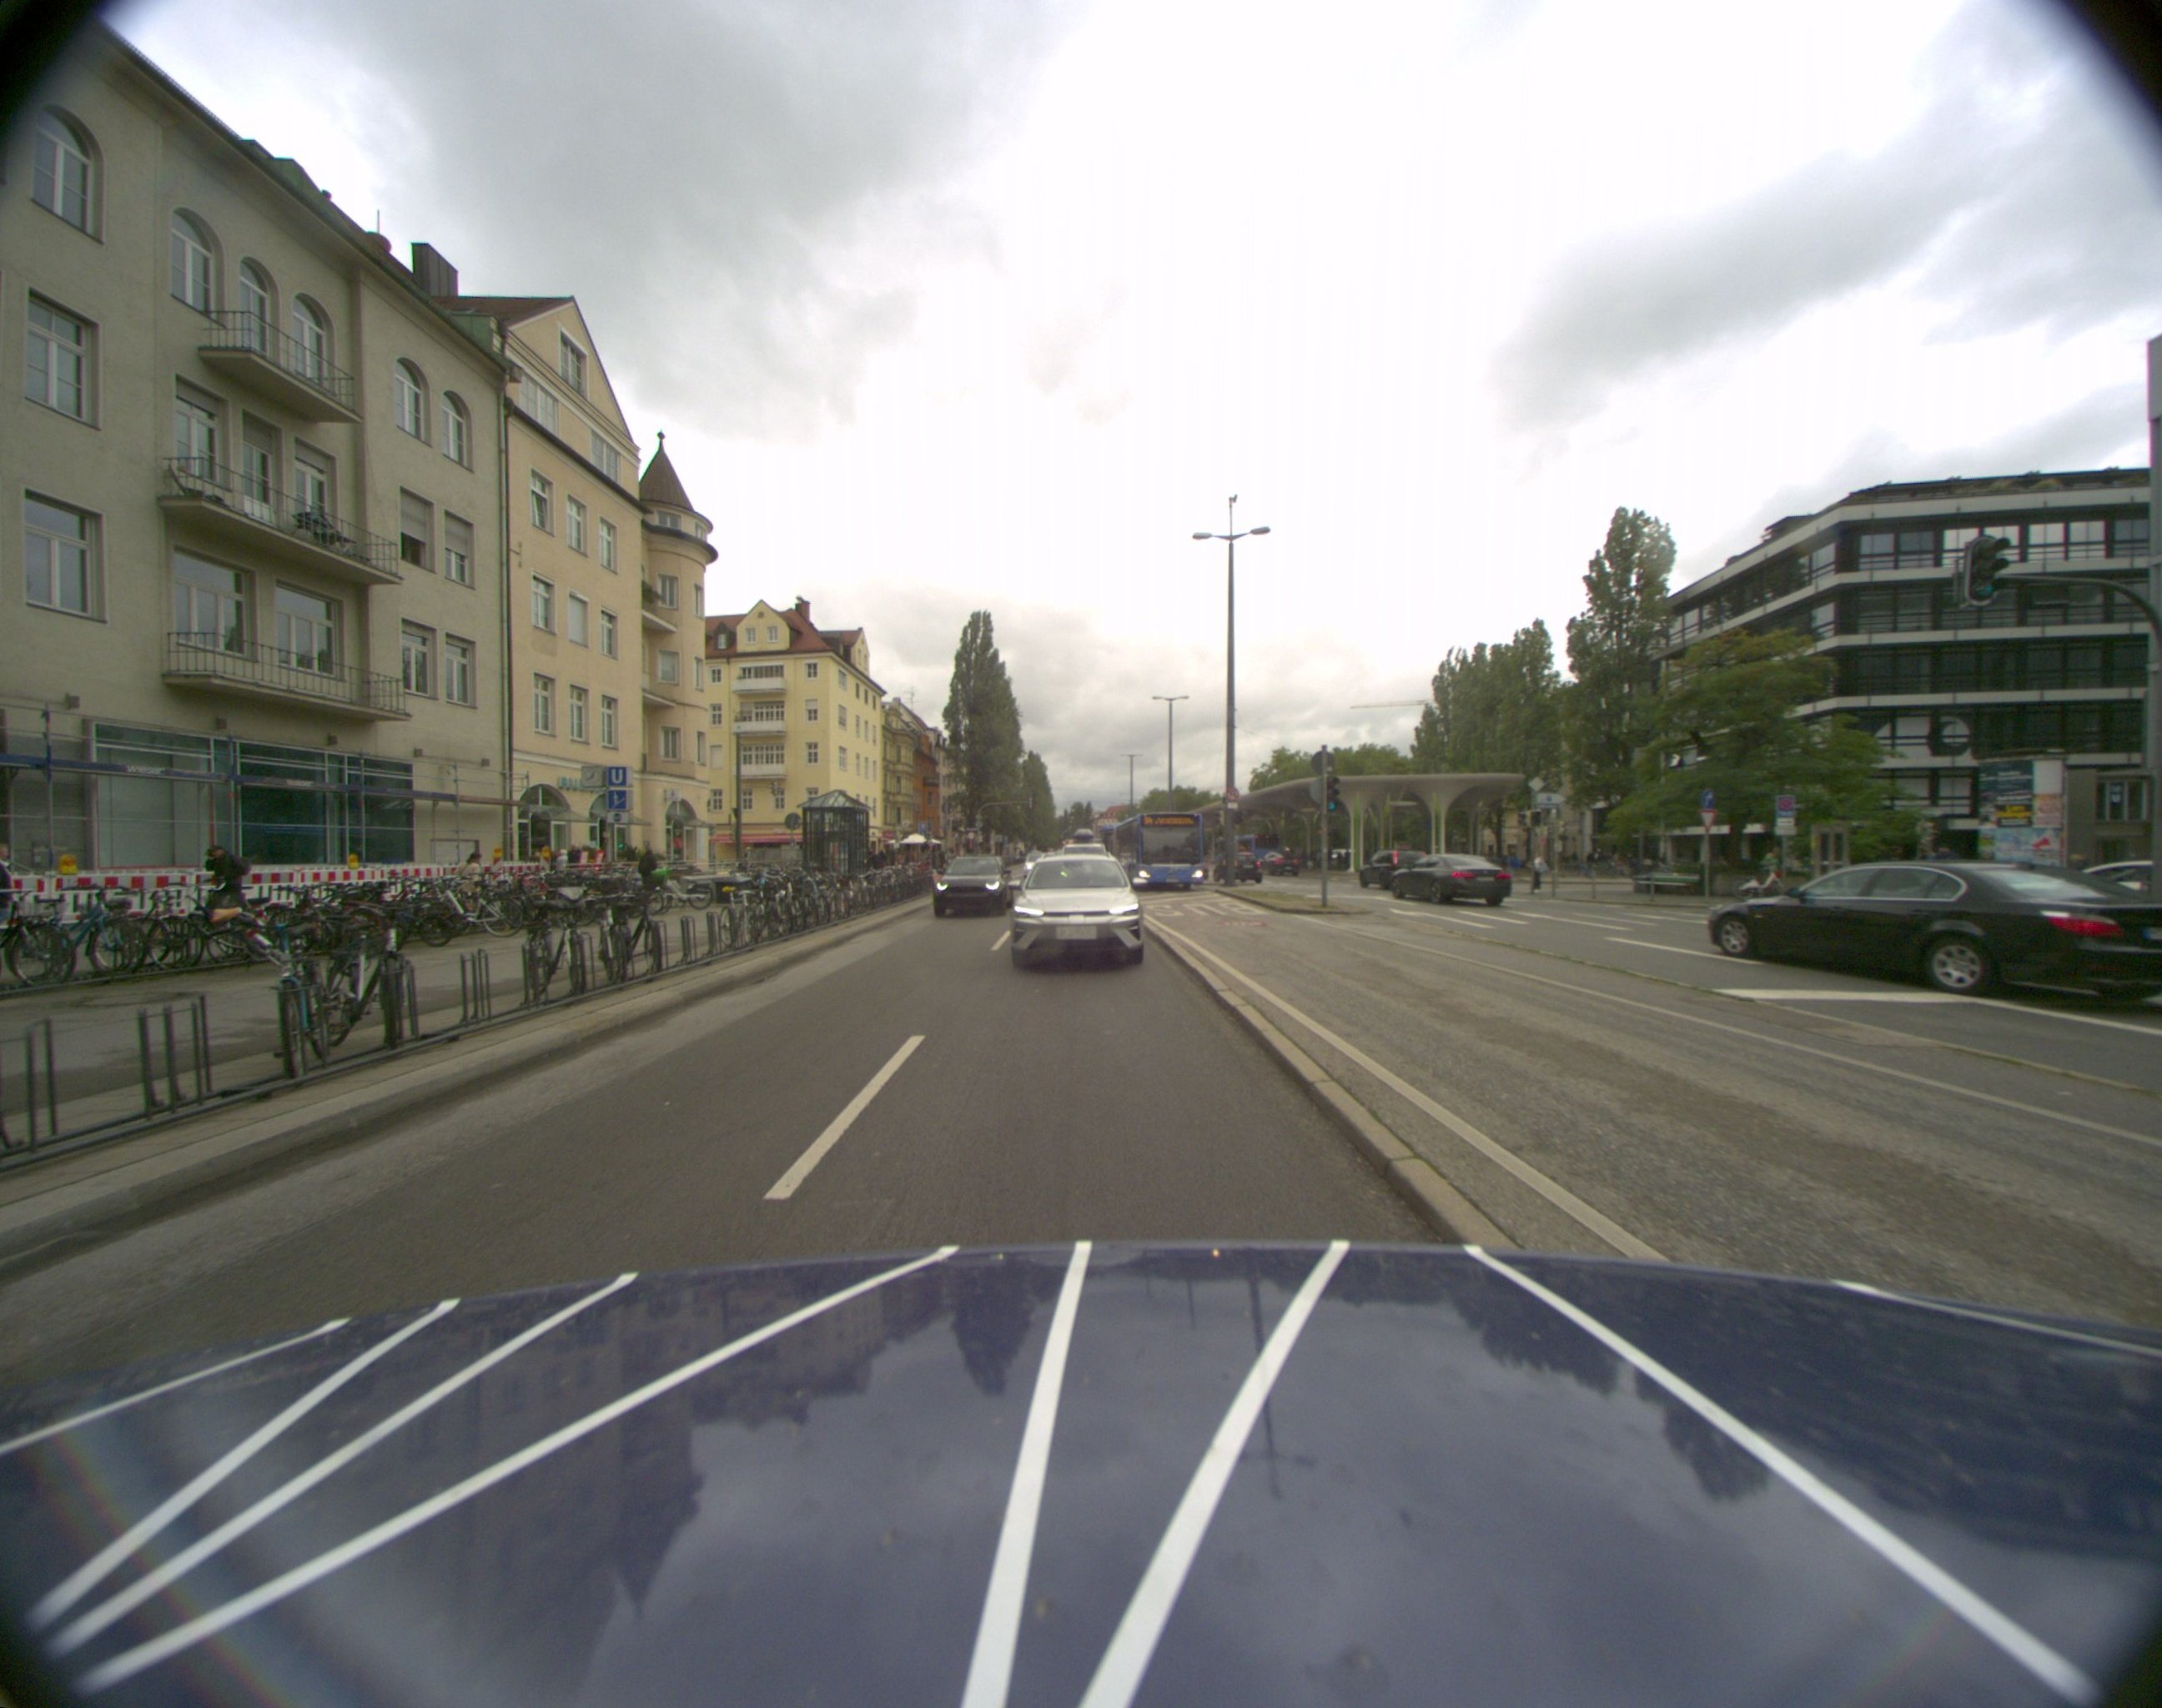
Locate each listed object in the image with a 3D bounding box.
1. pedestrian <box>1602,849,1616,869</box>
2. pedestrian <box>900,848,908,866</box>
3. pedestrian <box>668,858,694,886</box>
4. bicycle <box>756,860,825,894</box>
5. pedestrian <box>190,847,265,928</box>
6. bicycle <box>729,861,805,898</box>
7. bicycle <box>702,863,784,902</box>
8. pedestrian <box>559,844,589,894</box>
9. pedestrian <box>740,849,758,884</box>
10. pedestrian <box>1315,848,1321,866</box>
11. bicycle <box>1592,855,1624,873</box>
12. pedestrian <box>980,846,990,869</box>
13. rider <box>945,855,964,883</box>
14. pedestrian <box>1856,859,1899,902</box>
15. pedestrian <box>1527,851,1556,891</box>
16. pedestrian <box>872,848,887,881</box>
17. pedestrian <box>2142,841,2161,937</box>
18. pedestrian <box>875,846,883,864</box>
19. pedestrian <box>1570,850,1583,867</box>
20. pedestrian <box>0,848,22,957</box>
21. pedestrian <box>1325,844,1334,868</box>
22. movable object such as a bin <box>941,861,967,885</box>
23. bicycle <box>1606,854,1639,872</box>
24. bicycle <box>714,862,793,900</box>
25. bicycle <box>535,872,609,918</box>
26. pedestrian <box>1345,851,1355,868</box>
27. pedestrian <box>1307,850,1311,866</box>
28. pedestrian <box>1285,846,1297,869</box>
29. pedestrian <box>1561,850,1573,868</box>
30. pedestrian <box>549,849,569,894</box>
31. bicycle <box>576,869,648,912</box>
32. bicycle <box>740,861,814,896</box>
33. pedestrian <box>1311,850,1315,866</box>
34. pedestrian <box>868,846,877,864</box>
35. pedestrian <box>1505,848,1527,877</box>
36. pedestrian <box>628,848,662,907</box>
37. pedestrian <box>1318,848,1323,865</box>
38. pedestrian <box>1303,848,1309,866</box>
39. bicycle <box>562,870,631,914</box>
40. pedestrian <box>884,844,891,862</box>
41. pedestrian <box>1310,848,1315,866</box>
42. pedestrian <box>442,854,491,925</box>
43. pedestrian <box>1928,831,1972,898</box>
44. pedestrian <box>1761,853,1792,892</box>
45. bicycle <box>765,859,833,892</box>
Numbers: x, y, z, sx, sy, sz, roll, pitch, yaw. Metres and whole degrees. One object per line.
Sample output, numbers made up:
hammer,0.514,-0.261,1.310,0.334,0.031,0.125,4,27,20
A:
pedestrian,44.803,0.439,64.492,0.834,1.689,0.906,0,1,22
pedestrian,-15.837,0.274,68.017,0.552,1.675,0.585,0,1,1
pedestrian,-18.009,0.804,34.228,0.701,1.238,0.919,0,2,-1
bicycle,-10.647,0.824,27.880,2.330,1.220,0.628,0,1,3
pedestrian,-17.572,0.672,15.656,0.564,1.622,0.835,0,1,4
bicycle,-10.653,0.865,25.816,2.317,1.220,0.628,0,1,3
bicycle,-10.856,0.898,24.423,2.367,1.220,0.628,0,1,3
pedestrian,-17.767,0.510,26.632,0.618,1.728,0.644,0,1,-1
pedestrian,-16.377,0.593,37.506,0.565,1.691,0.591,1,2,10
pedestrian,19.409,0.239,62.283,0.335,1.493,0.317,0,1,-9
bicycle,32.763,0.626,47.256,0.473,1.091,1.671,0,1,-24
pedestrian,-7.533,0.276,59.752,0.732,1.792,0.710,0,3,-9
rider,-5.925,0.706,35.642,0.732,1.234,0.732,2,2,-3
pedestrian,25.103,0.827,23.958,0.544,1.301,0.774,0,1,1
pedestrian,17.954,0.656,29.629,0.640,1.543,0.759,-2,2,-25
pedestrian,-10.785,0.554,40.659,0.641,1.767,0.609,-1,1,-23
pedestrian,18.831,0.597,13.132,0.365,1.646,0.425,-2,2,0
pedestrian,-17.017,0.080,64.031,0.528,1.517,0.585,0,1,1
pedestrian,49.389,0.455,75.790,0.800,1.714,0.827,0,1,12
pedestrian,-16.872,0.757,11.741,0.539,1.665,0.506,0,2,38
pedestrian,19.151,0.167,58.543,0.666,1.840,0.789,1,1,20
movable object such as a bin,-5.947,0.894,35.635,1.089,1.056,0.747,2,2,-3
bicycle,34.061,0.578,47.826,0.473,1.091,1.671,0,1,-24
bicycle,-10.802,0.883,25.102,2.342,1.220,0.628,0,1,3
bicycle,-12.169,0.975,18.174,1.452,1.071,0.410,1,1,-5
pedestrian,21.707,0.420,61.334,0.549,1.330,0.592,0,1,0
pedestrian,18.671,0.337,62.164,0.316,1.335,0.339,1,1,17
pedestrian,15.943,0.241,57.675,0.711,1.738,0.788,0,1,0
pedestrian,48.425,0.485,75.689,0.800,1.714,0.827,0,1,12
pedestrian,-18.564,0.609,27.022,0.567,1.533,0.589,-1,3,-34
bicycle,-12.237,0.957,19.826,1.650,1.071,0.410,1,1,3
bicycle,-10.690,0.848,26.752,2.342,1.220,0.628,0,1,3
pedestrian,18.991,0.328,62.137,0.316,1.335,0.339,1,1,17
pedestrian,-17.534,0.097,63.950,0.528,1.517,0.585,0,1,1
pedestrian,27.272,0.528,47.657,0.861,1.767,0.980,0,1,1
pedestrian,-12.997,0.683,22.636,0.741,1.698,0.703,-1,1,-40
pedestrian,19.563,0.194,62.010,0.303,1.369,0.270,0,1,-2
pedestrian,18.557,0.224,62.713,0.426,1.493,0.490,1,1,26
bicycle,-12.232,0.956,19.194,1.452,1.071,0.410,1,1,-5
pedestrian,-18.309,-0.108,71.929,0.552,1.675,0.585,0,1,1
pedestrian,19.085,0.229,62.583,0.320,1.493,0.317,0,1,-9
pedestrian,-13.868,0.783,17.168,0.662,1.573,0.536,0,1,-10
pedestrian,23.387,0.270,20.455,0.562,1.768,0.510,-2,2,3
pedestrian,31.504,0.824,34.424,0.765,1.725,0.648,0,1,-7
bicycle,-10.618,0.808,28.635,2.317,1.220,0.628,0,1,3
